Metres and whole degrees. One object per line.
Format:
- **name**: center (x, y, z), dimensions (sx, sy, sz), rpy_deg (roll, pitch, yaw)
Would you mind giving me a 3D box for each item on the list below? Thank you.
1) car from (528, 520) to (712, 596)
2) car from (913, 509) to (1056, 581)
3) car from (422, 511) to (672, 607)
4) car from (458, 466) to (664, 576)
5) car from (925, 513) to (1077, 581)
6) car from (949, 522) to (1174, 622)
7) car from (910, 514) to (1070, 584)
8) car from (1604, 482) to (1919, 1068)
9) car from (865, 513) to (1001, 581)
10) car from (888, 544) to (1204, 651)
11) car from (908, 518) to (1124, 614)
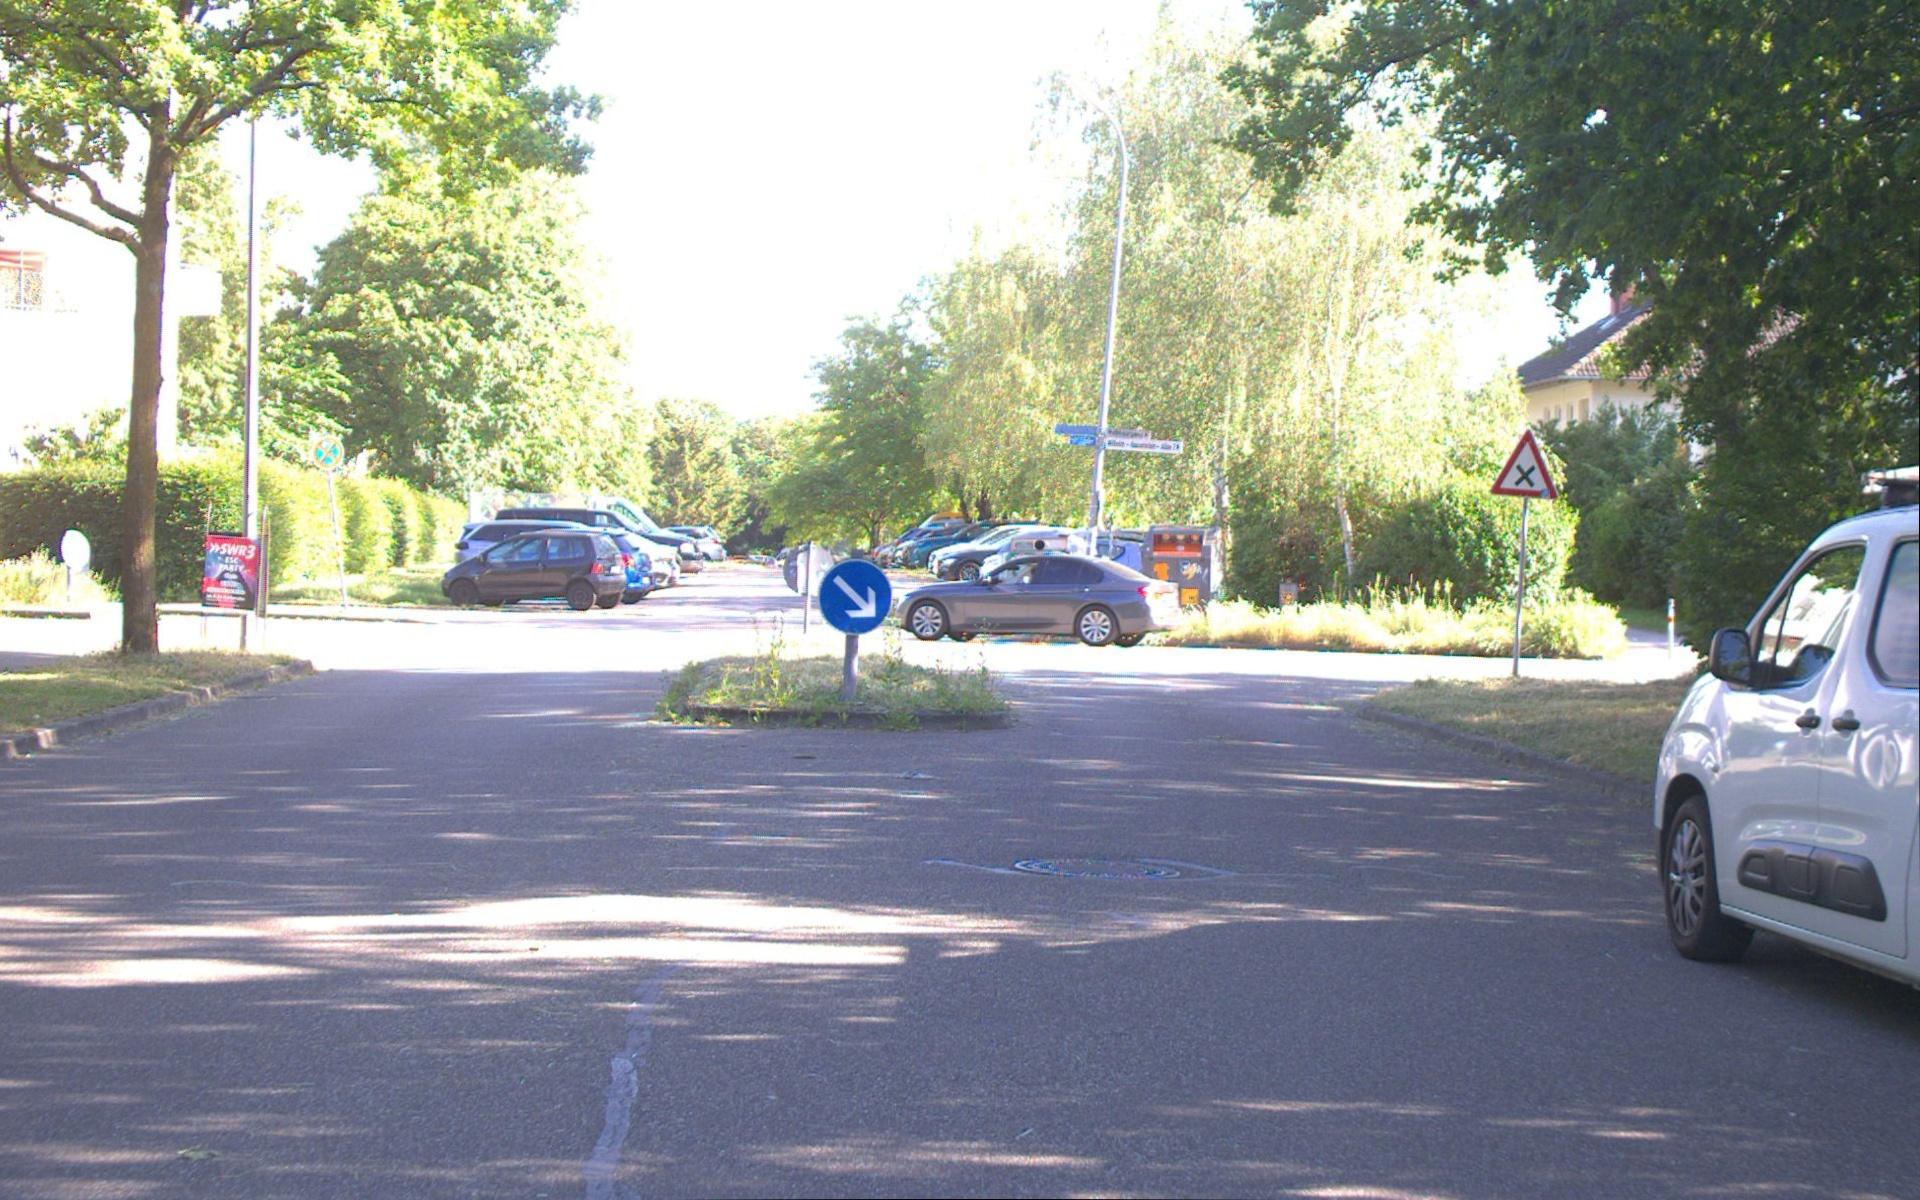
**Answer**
- **car**: center (-8.030, -0.997, 81.542), dimensions (4.106, 1.571, 1.958), rpy_deg (3, 1, 0)
- **car**: center (0.701, -1.530, 95.732), dimensions (3.839, 1.789, 1.688), rpy_deg (3, 1, 3)
- **car**: center (-7.809, -0.781, 65.242), dimensions (4.319, 1.571, 2.046), rpy_deg (3, 1, 5)
- **car**: center (-10.483, -2.080, 90.411), dimensions (5.198, 2.612, 2.294), rpy_deg (3, 1, -7)
- **car**: center (1.078, -1.377, 89.539), dimensions (3.839, 1.571, 1.688), rpy_deg (3, 1, 3)
- **car**: center (1.824, -0.504, 60.991), dimensions (3.839, 1.571, 1.688), rpy_deg (3, 1, 5)
- **car**: center (0.778, -1.288, 86.400), dimensions (3.839, 1.571, 1.688), rpy_deg (3, 1, 5)
- **car**: center (3.736, 0.545, 11.628), dimensions (1.790, 1.779, 4.558), rpy_deg (3, 1, -5)
- **car**: center (-0.776, -1.558, 100.630), dimensions (3.839, 1.789, 1.688), rpy_deg (3, 1, 3)
- **car**: center (1.374, -0.058, 54.537), dimensions (4.546, 1.429, 2.044), rpy_deg (3, 1, 18)
- **car**: center (1.064, -0.641, 63.793), dimensions (3.839, 1.571, 1.688), rpy_deg (3, 1, 5)
